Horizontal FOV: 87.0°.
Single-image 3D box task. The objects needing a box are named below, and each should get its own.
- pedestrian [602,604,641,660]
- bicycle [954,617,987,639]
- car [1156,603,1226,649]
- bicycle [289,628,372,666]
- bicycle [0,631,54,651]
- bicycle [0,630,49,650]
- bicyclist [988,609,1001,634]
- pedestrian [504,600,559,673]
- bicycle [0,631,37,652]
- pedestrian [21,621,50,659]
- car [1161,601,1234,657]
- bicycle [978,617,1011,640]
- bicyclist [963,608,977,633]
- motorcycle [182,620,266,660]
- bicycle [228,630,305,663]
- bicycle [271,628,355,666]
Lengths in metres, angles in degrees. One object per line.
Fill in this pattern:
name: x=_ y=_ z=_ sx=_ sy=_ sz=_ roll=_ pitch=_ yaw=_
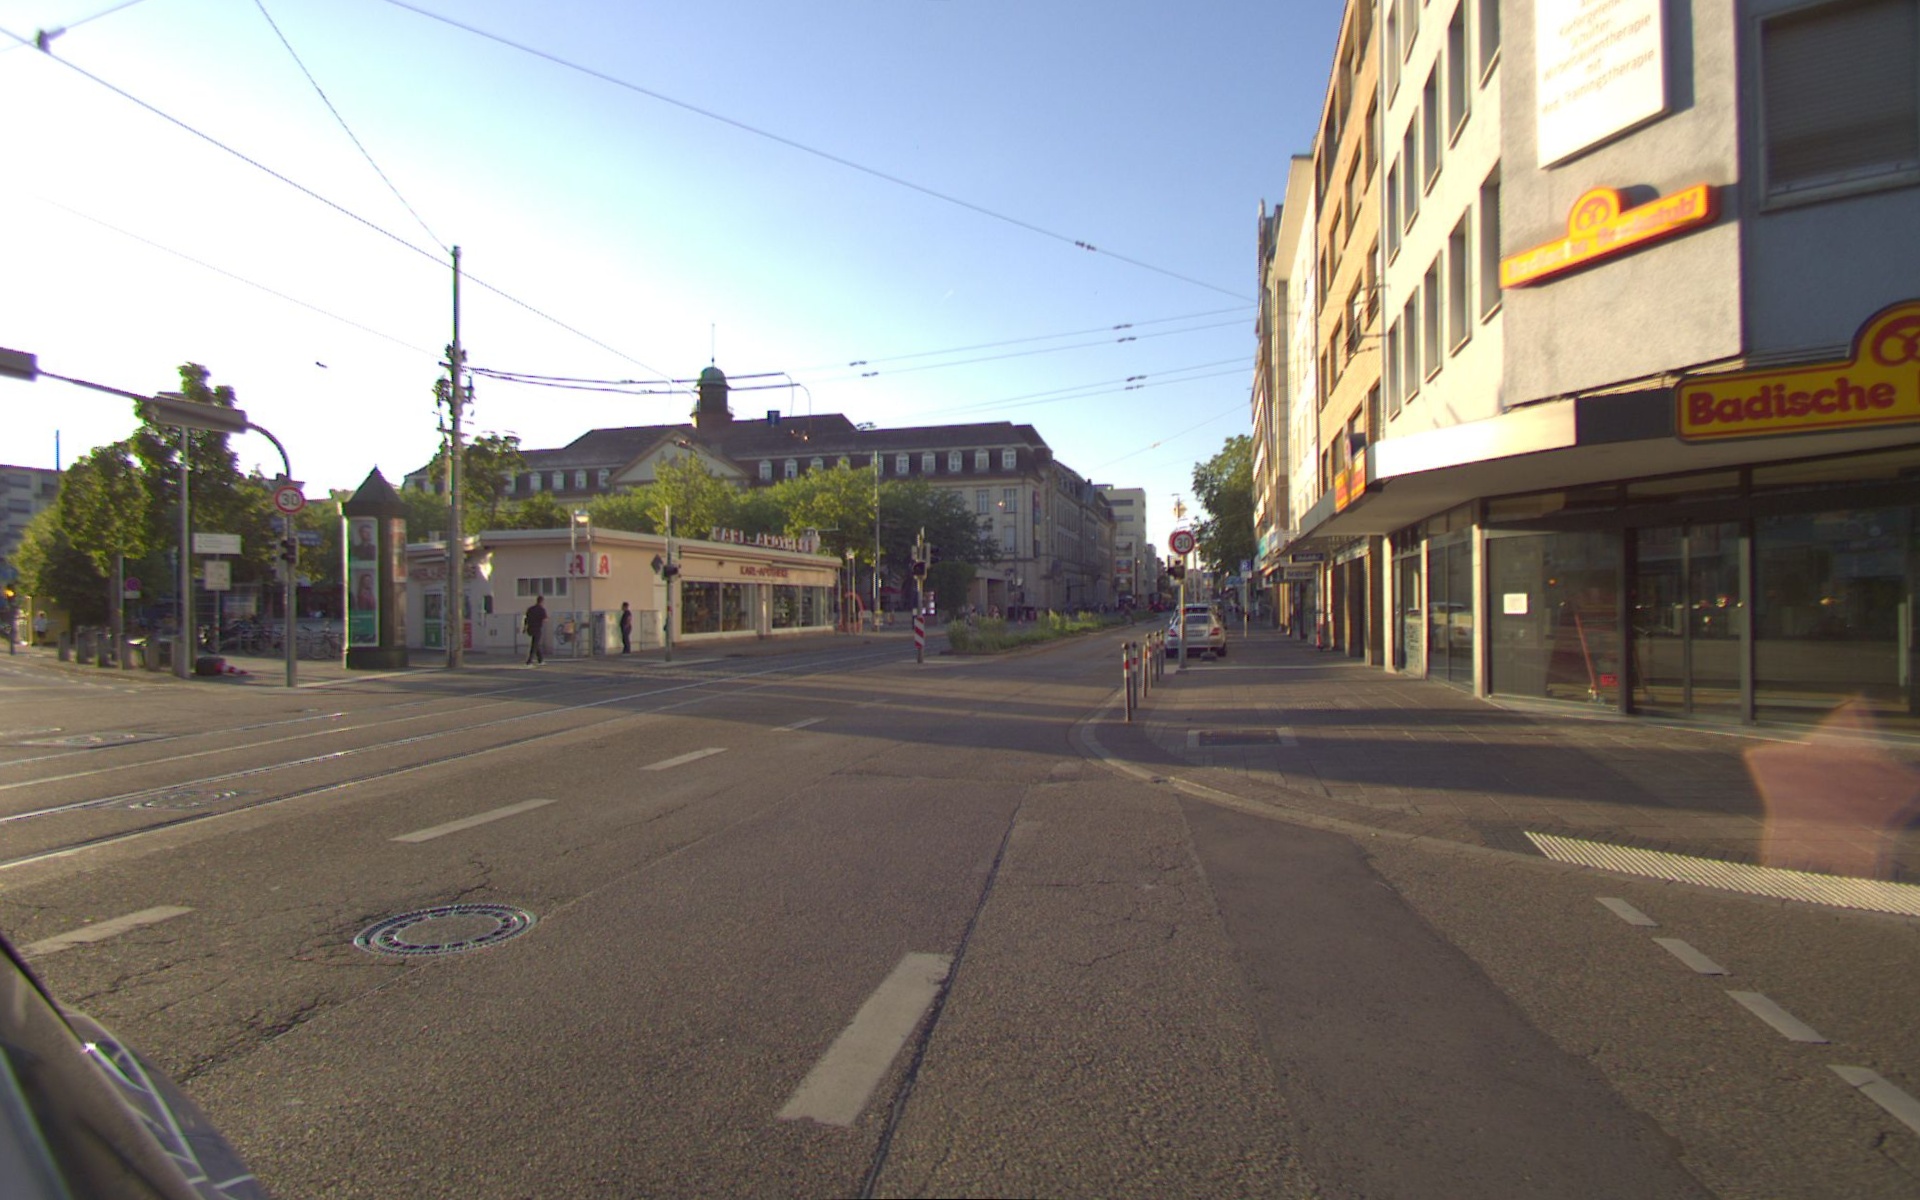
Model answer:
pedestrian: x=-10.518 y=0.982 z=31.485 sx=0.895 sy=1.689 sz=0.779 roll=-1 pitch=1 yaw=4
bicycle: x=0.794 y=2.032 z=73.749 sx=2.458 sy=1.497 sz=0.595 roll=-2 pitch=1 yaw=-33
car: x=8.333 y=0.888 z=36.274 sx=2.032 sy=1.487 sz=4.582 roll=-2 pitch=0 yaw=18
bicycle: x=-20.286 y=1.502 z=32.653 sx=0.777 sy=1.096 sz=2.173 roll=-1 pitch=0 yaw=32
bicycle: x=-52.091 y=2.271 z=56.374 sx=2.366 sy=0.966 sz=0.673 roll=-3 pitch=2 yaw=-44
bicycle: x=-52.913 y=2.271 z=56.997 sx=2.366 sy=0.966 sz=0.673 roll=-3 pitch=2 yaw=-44
bicyclist: x=2.487 y=1.512 z=72.373 sx=0.644 sy=1.724 sz=0.623 roll=-2 pitch=1 yaw=-32
pedestrian: x=-10.961 y=0.919 z=25.904 sx=0.876 sy=1.798 sz=0.900 roll=-1 pitch=1 yaw=24
bicycle: x=-54.389 y=2.380 z=57.843 sx=2.366 sy=1.079 sz=0.673 roll=-3 pitch=2 yaw=-44
pedestrian: x=-42.933 y=1.838 z=46.995 sx=0.766 sy=1.689 sz=0.909 roll=-2 pitch=1 yaw=-31
car: x=7.486 y=0.865 z=31.673 sx=1.785 sy=1.587 sz=4.274 roll=-2 pitch=0 yaw=19
bicycle: x=2.498 y=2.002 z=72.382 sx=2.378 sy=1.497 sz=0.618 roll=-2 pitch=1 yaw=-33
bicyclist: x=0.732 y=1.497 z=73.702 sx=0.776 sy=1.733 sz=0.595 roll=-2 pitch=1 yaw=-32
motorcycle: x=-27.667 y=1.487 z=38.071 sx=0.779 sy=1.376 sz=2.418 roll=-2 pitch=0 yaw=44
bicycle: x=-24.898 y=1.636 z=36.347 sx=0.778 sy=1.096 sz=2.154 roll=0 pitch=0 yaw=38
bicycle: x=-21.227 y=1.517 z=33.266 sx=0.777 sy=1.096 sz=2.198 roll=-1 pitch=1 yaw=32
